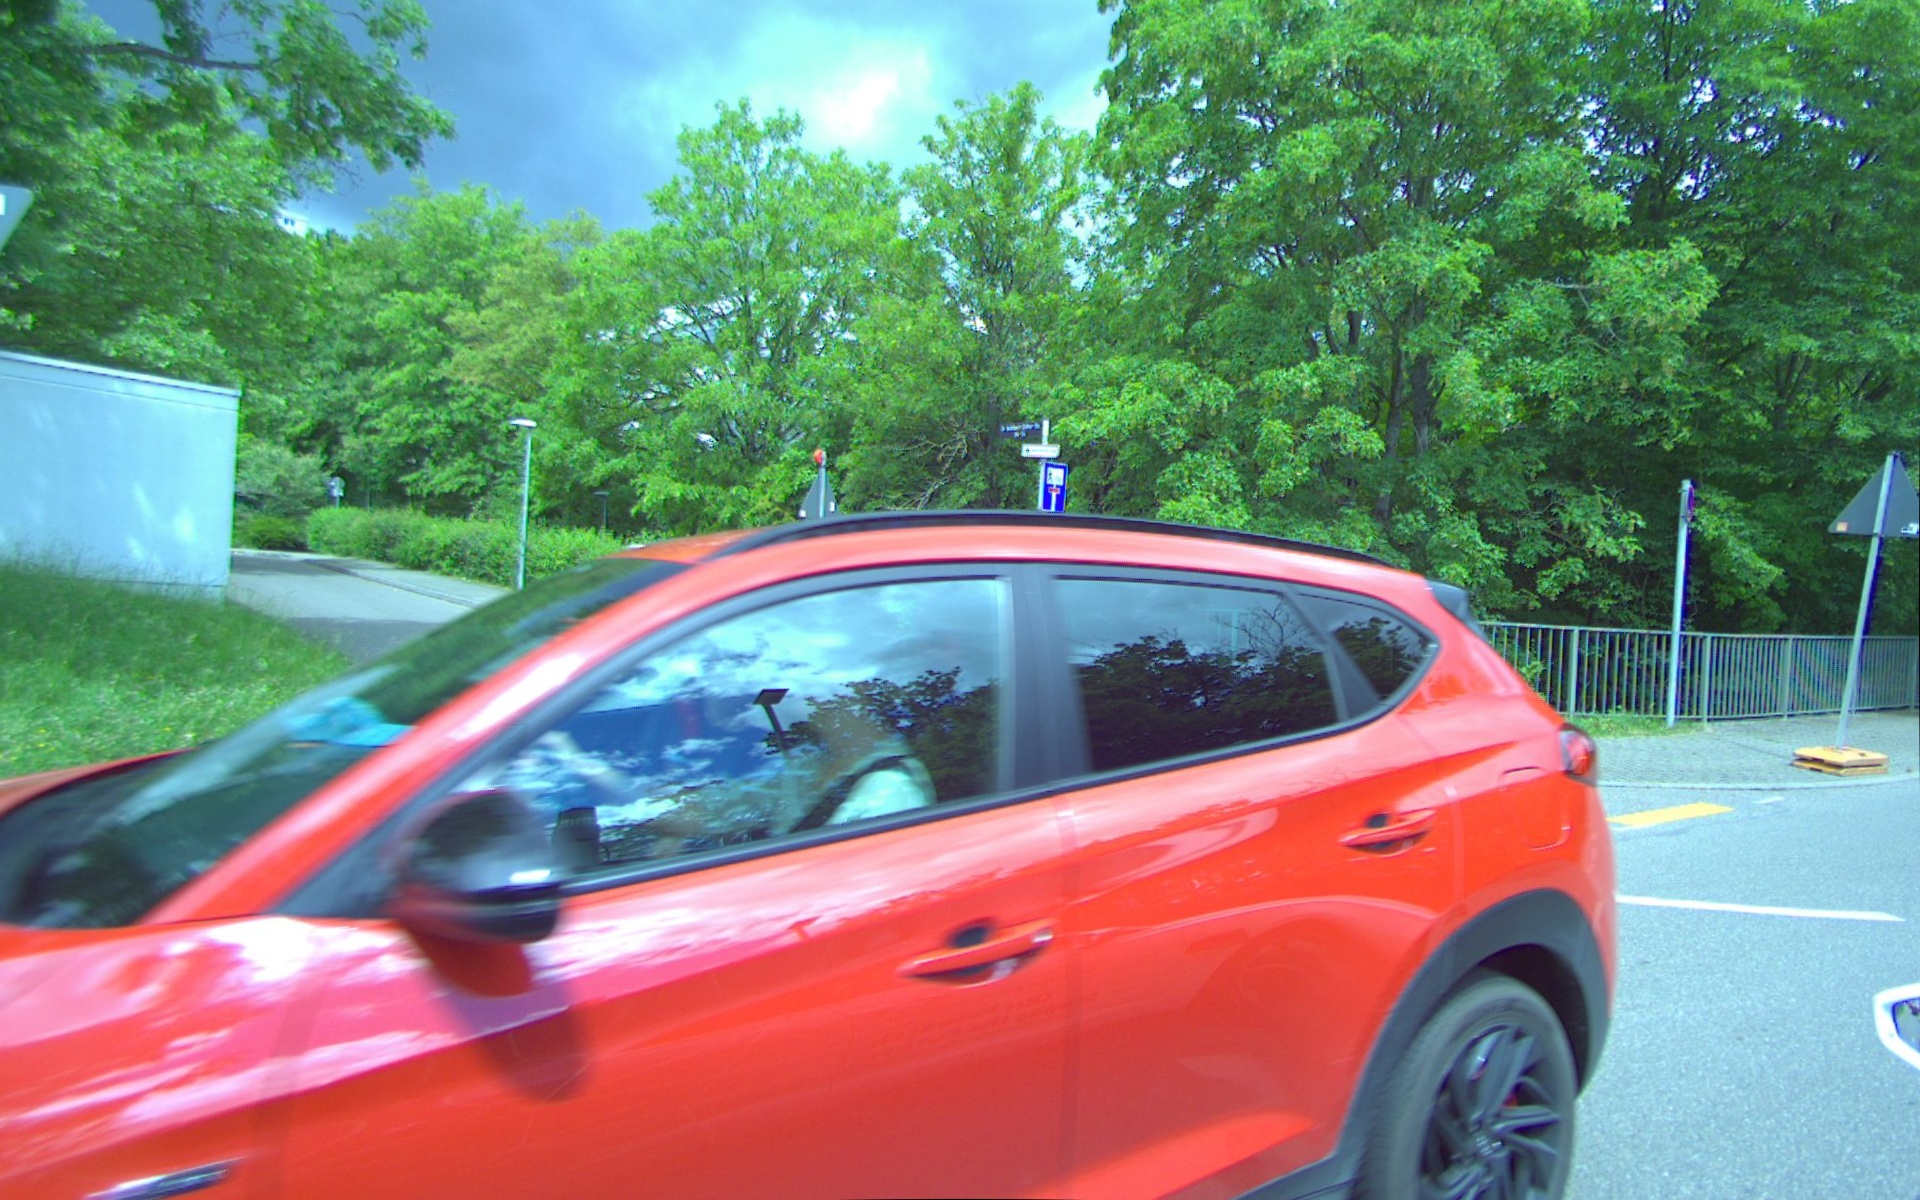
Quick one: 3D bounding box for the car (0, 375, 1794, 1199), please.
[{"bbox_3d":[-0.111,0.646,2.386,4.170,1.681,1.835,1,1,-30],"label":"car"}]
